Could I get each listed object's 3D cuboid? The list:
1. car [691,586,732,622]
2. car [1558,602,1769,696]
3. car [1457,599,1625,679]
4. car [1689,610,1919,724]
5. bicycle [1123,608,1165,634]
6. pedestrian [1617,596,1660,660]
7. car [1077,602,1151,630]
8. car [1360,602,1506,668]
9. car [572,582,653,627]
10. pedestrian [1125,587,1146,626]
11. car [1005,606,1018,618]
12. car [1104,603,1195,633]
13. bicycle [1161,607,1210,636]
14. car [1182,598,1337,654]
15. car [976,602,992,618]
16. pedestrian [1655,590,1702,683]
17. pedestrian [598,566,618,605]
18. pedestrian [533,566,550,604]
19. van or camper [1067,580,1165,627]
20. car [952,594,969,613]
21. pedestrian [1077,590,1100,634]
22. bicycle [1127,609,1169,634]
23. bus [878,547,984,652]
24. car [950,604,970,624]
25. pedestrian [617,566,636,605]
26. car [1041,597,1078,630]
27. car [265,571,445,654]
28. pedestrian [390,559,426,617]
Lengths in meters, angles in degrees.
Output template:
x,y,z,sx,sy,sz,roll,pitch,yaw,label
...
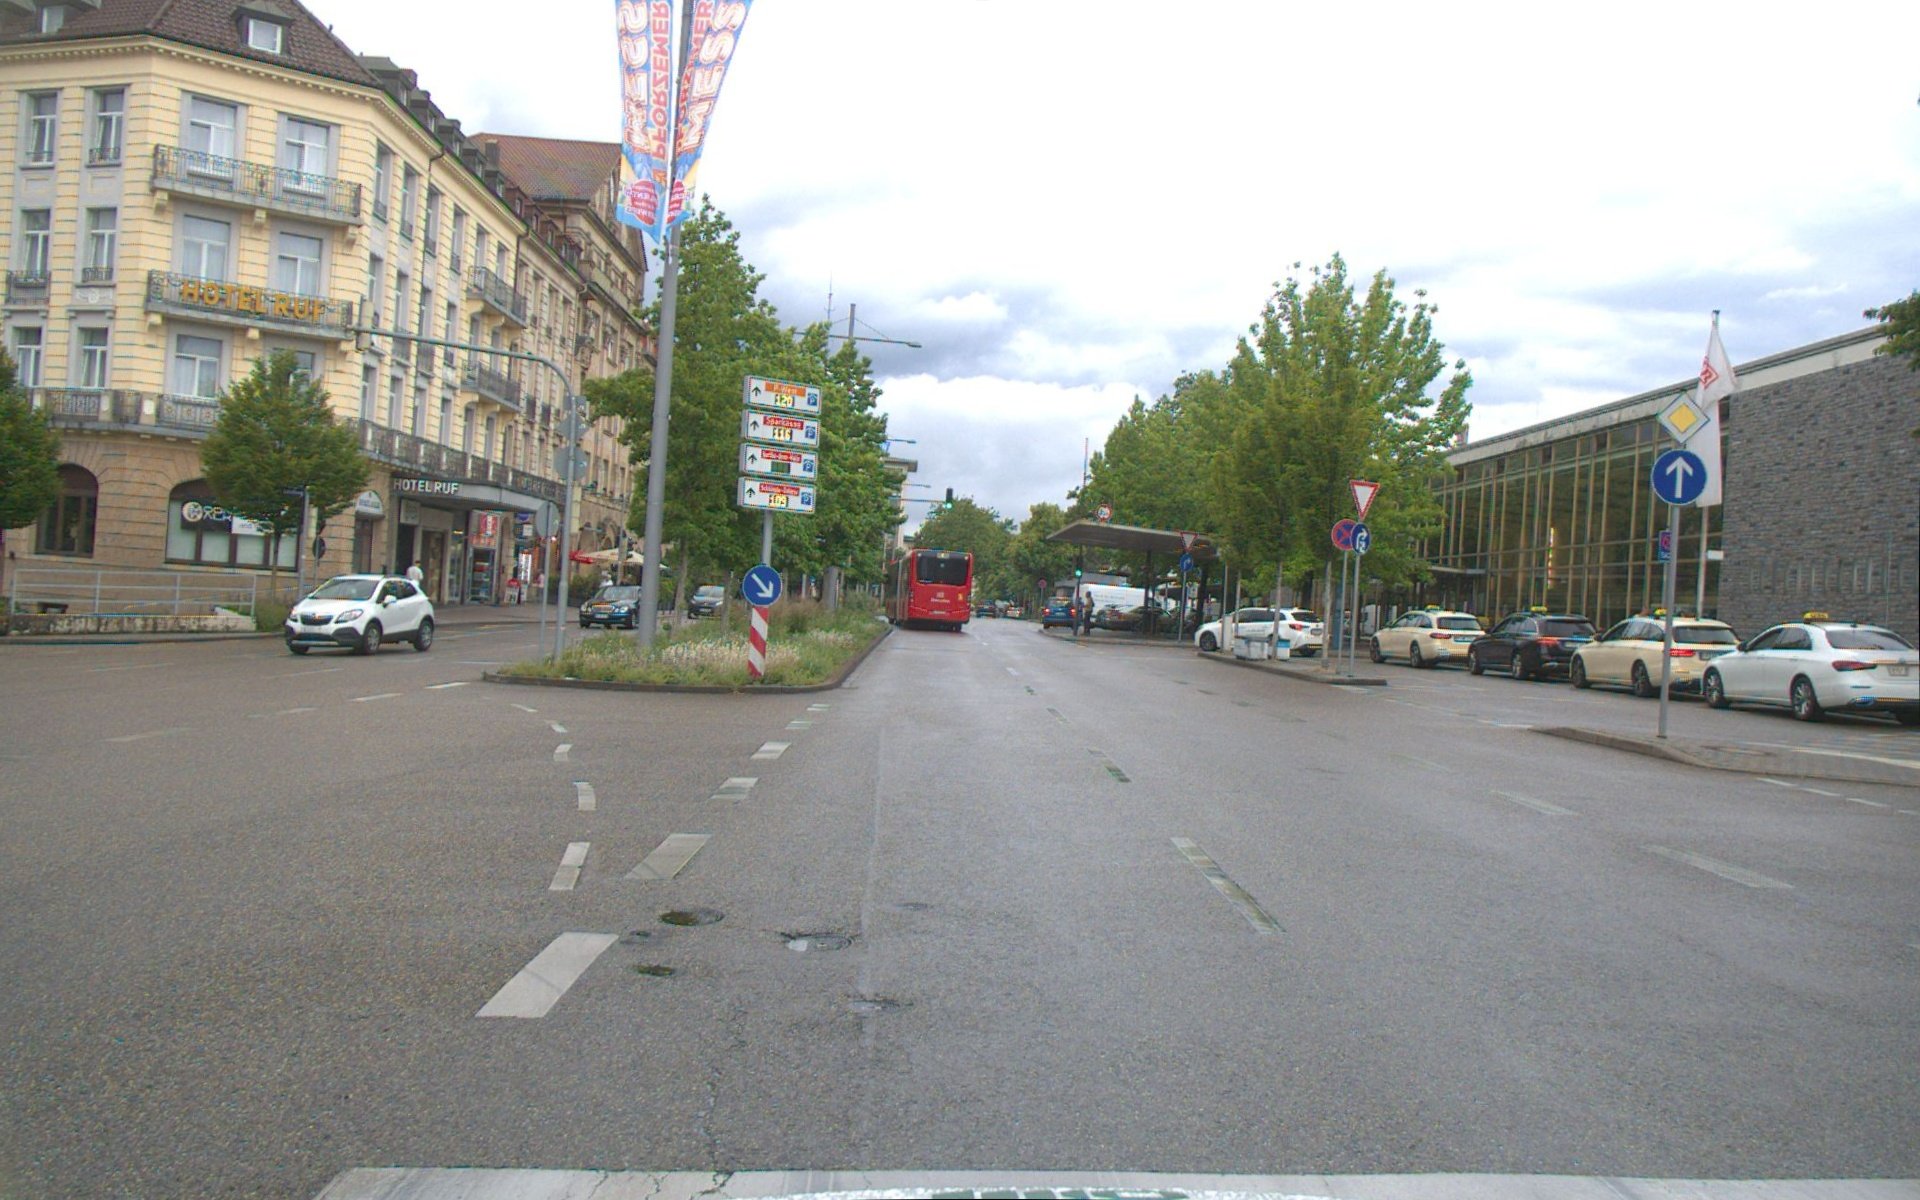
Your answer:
x,y,z,sx,sy,sz,roll,pitch,yaw,label
-11.068,0.186,73.901,1.645,1.539,3.858,1,0,-6,car
13.495,0.887,32.098,1.953,1.627,4.958,1,0,0,car
13.339,0.838,38.315,1.953,1.627,4.956,3,0,-2,car
13.586,0.982,26.233,1.841,1.627,4.902,1,0,0,car
8.012,0.922,72.036,1.799,1.074,0.418,1,-1,-19,bicycle
17.163,0.703,41.825,0.753,1.607,0.710,1,-1,-4,pedestrian
9.003,0.947,96.801,3.940,1.468,1.848,3,-1,-27,car
12.715,0.911,44.812,1.956,1.627,4.949,1,0,-8,car
-11.656,0.151,55.741,1.916,1.447,3.999,1,0,-1,car
8.627,0.343,81.137,0.839,1.867,1.190,2,-1,-1,pedestrian
6.958,1.621,225.639,1.611,1.690,3.649,1,0,0,car
9.439,0.885,82.396,4.124,1.348,1.829,2,-1,-21,car
8.599,0.808,63.058,1.790,1.074,0.420,1,-1,-1,bicycle
9.236,0.795,51.367,1.747,1.573,4.708,2,-1,-40,car
2.449,1.038,170.670,1.562,1.588,3.649,1,0,0,car
17.258,0.872,39.745,0.779,2.202,0.722,1,-1,-3,pedestrian
-15.491,-0.641,72.790,0.667,1.693,0.807,1,-1,2,pedestrian
-18.772,-0.661,74.262,0.654,1.693,0.535,1,-1,-9,pedestrian
9.728,0.254,102.868,5.878,2.811,2.179,1,-1,-28,van or camper
0.064,0.427,188.524,1.953,2.049,3.999,1,0,0,car
5.204,0.483,66.942,0.732,1.777,0.834,2,-1,-9,pedestrian
8.126,0.923,71.590,1.799,1.074,0.418,1,-1,-19,bicycle
-1.414,0.016,70.293,3.477,4.049,11.156,1,0,-6,bus
-0.011,1.457,172.816,1.953,2.049,3.999,1,0,0,car
-14.668,-0.636,72.762,0.667,1.693,0.807,1,-1,-1,pedestrian
5.135,0.726,85.455,1.820,1.596,4.001,2,-1,3,car
-12.864,0.266,35.473,1.914,1.646,4.211,1,0,6,car
-17.724,-0.387,53.126,0.861,1.844,0.750,1,-1,-1,pedestrian
